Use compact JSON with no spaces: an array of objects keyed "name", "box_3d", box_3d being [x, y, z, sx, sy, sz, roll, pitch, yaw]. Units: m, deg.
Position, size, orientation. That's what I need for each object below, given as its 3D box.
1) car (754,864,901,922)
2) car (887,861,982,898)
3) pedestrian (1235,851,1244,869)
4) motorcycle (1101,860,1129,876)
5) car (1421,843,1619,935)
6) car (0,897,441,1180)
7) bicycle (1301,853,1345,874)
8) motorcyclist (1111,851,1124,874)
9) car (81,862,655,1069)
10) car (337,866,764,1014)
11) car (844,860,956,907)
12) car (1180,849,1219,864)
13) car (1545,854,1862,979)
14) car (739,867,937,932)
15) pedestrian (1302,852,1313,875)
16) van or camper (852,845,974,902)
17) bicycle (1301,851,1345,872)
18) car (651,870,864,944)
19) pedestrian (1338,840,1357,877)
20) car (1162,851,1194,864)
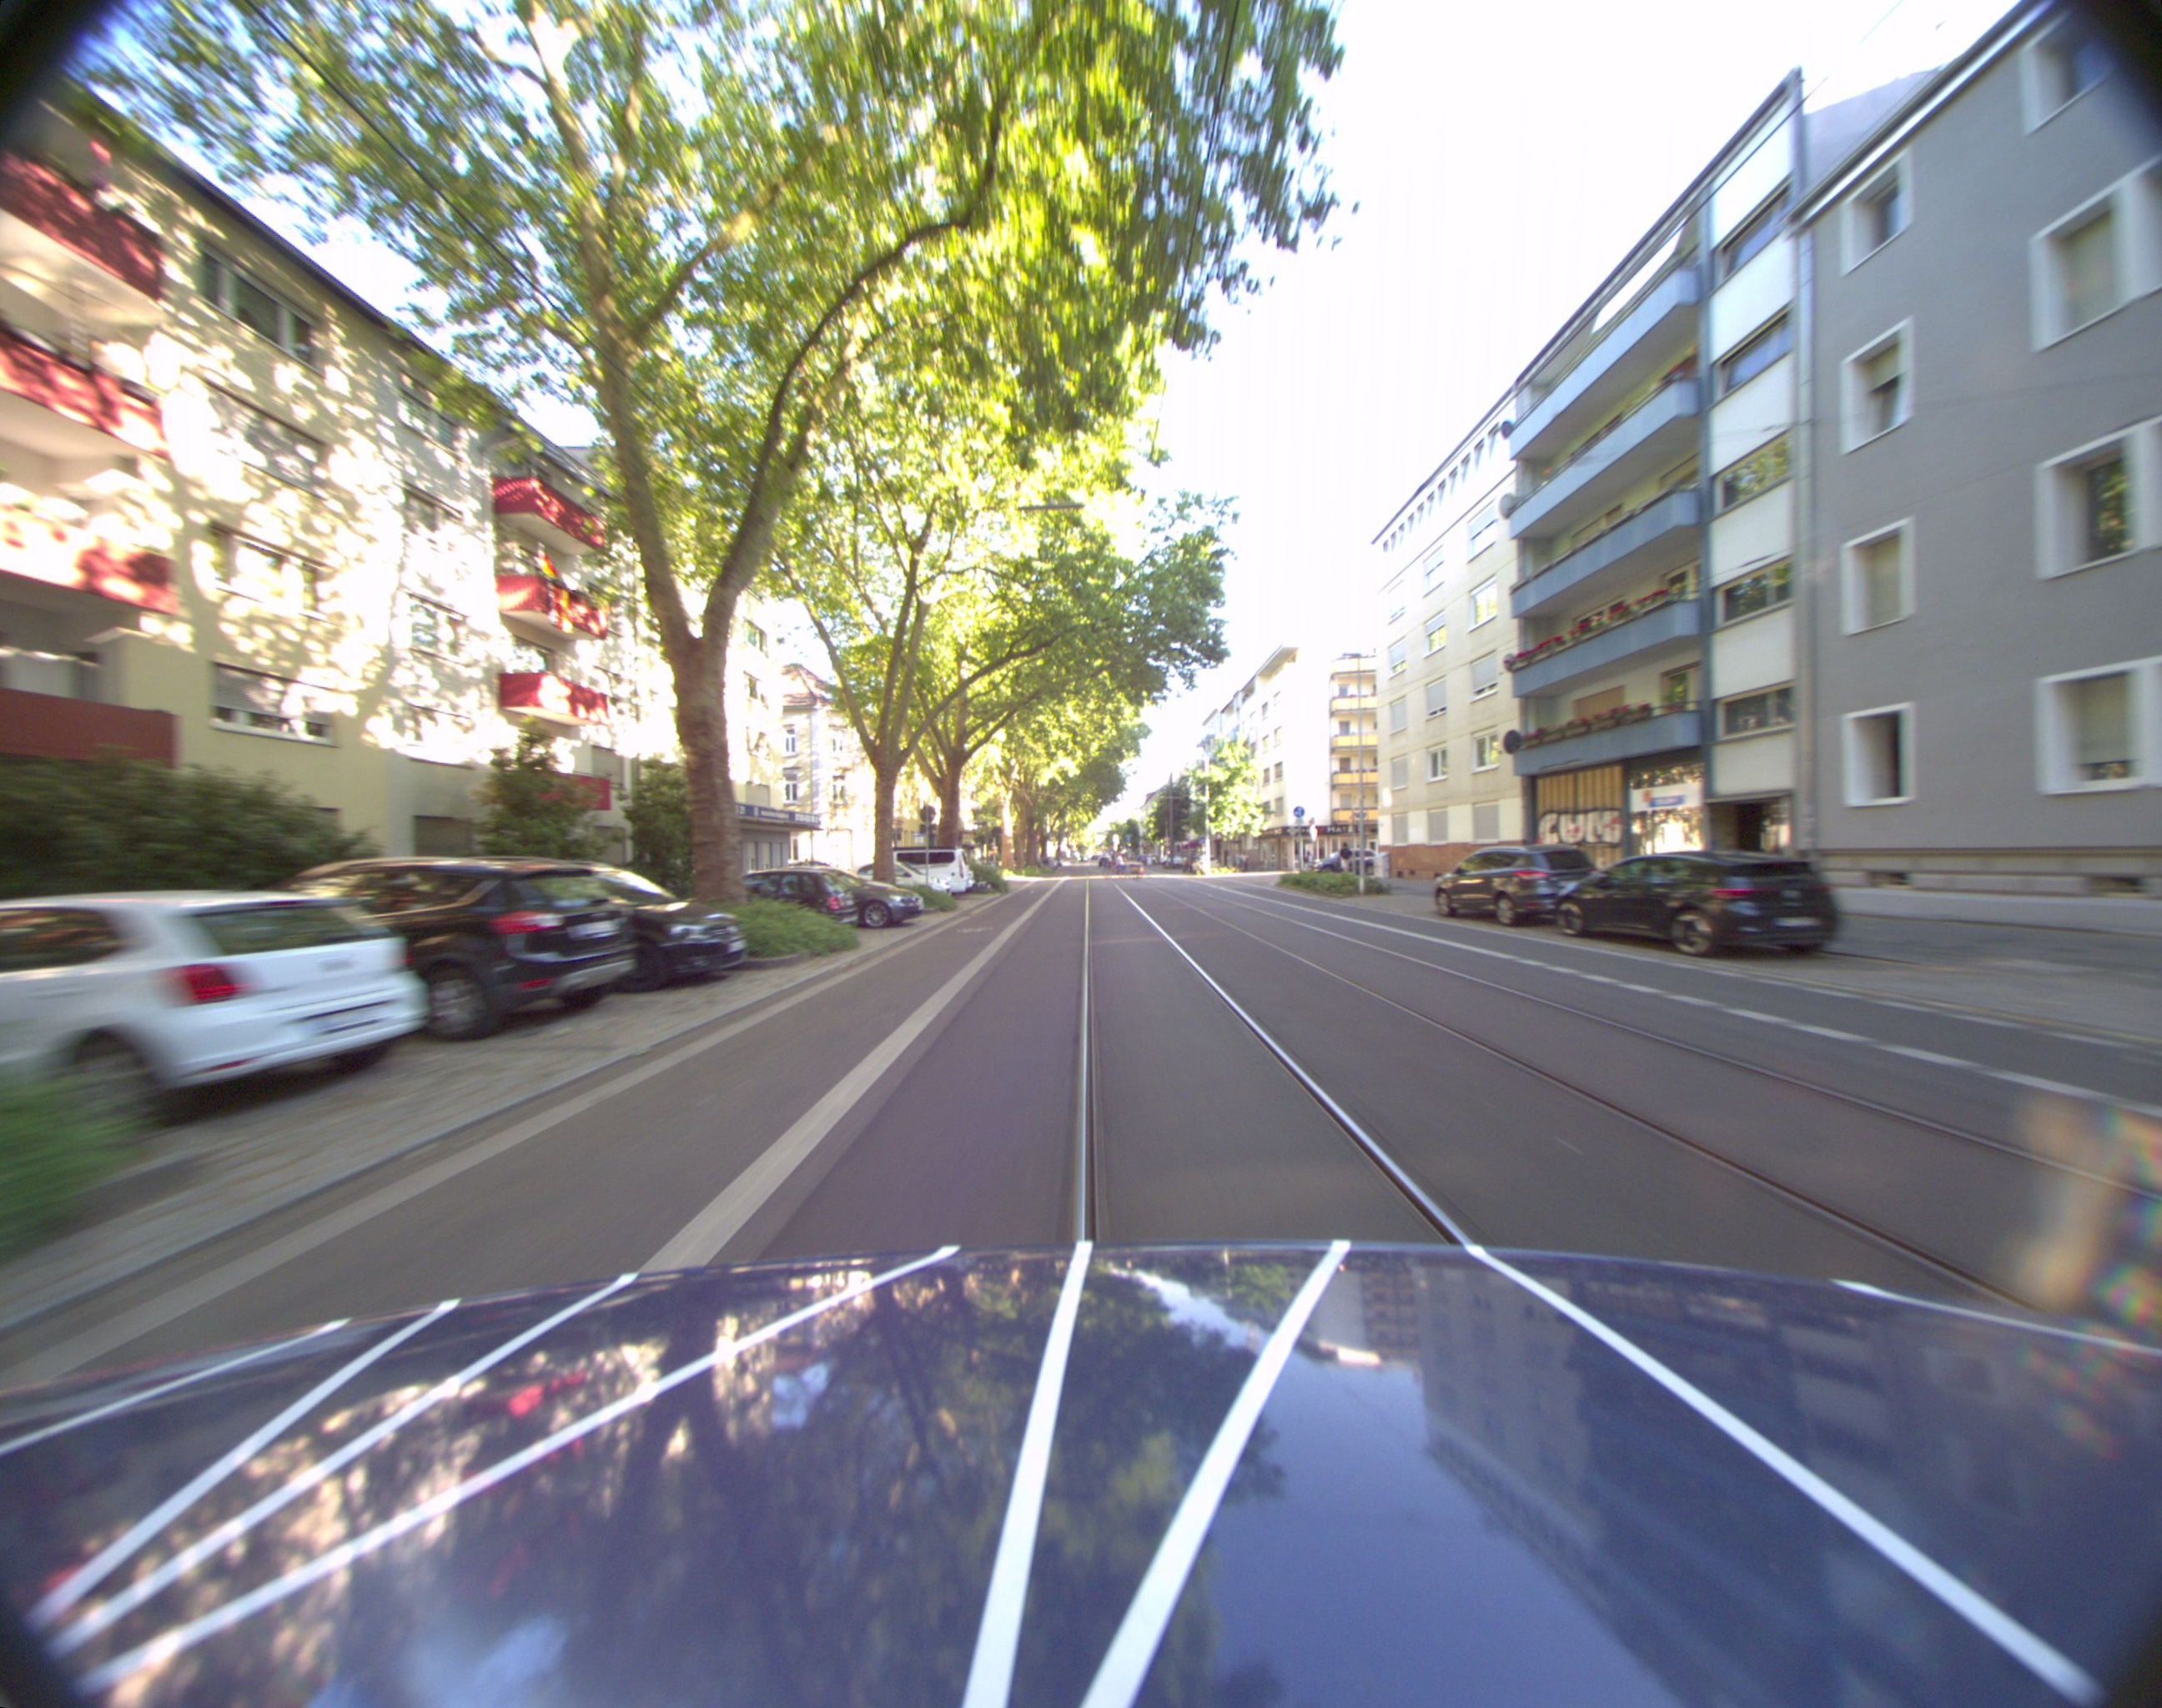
[{"name":"car","box_3d":[-6.929,1.049,21.017,3.483,1.473,1.643,0,1,0]},{"name":"car","box_3d":[-6.174,1.070,32.242,3.570,1.431,1.727,-1,1,4]},{"name":"pedestrian","box_3d":[13.379,0.520,64.187,0.596,1.496,0.655,-2,1,1]},{"name":"motorcycle","box_3d":[2.342,0.973,52.594,1.829,1.112,0.590,-1,1,11]},{"name":"car","box_3d":[9.747,0.688,17.373,1.784,1.728,4.489,-3,0,-1]},{"name":"car","box_3d":[-6.856,1.117,5.118,3.618,1.486,1.660,-1,1,-1]},{"name":"bicycle","box_3d":[16.523,0.654,51.981,2.804,1.306,0.539,-2,1,20]},{"name":"motorcyclist","box_3d":[2.533,0.585,52.566,0.755,1.609,0.589,-1,1,11]},{"name":"car","box_3d":[-6.787,0.999,7.587,4.003,1.734,1.805,-1,0,1]},{"name":"car","box_3d":[-6.699,1.041,9.987,4.302,1.643,1.742,-1,1,-2]},{"name":"car","box_3d":[-6.396,1.030,27.127,3.572,1.522,1.677,-1,1,-1]},{"name":"car","box_3d":[12.656,0.302,81.242,3.953,1.515,1.587,-1,0,4]},{"name":"car","box_3d":[9.701,0.841,12.376,1.660,1.591,4.202,-3,0,0]},{"name":"car","box_3d":[-5.845,1.078,18.652,4.206,1.473,1.911,0,1,2]},{"name":"pedestrian","box_3d":[15.161,0.613,50.838,0.595,1.496,0.656,-2,1,8]},{"name":"van or camper","box_3d":[-6.514,0.728,29.799,4.388,2.097,1.838,-1,1,-3]},{"name":"bicycle","box_3d":[16.715,0.530,52.529,2.804,1.306,0.539,-2,1,20]},{"name":"car","box_3d":[-6.798,1.092,16.285,3.836,1.435,1.699,0,1,-2]},{"name":"pedestrian","box_3d":[14.002,0.251,39.944,0.773,1.888,0.799,-2,1,8]},{"name":"car","box_3d":[12.090,0.409,94.888,3.953,1.515,1.587,-1,0,4]}]
